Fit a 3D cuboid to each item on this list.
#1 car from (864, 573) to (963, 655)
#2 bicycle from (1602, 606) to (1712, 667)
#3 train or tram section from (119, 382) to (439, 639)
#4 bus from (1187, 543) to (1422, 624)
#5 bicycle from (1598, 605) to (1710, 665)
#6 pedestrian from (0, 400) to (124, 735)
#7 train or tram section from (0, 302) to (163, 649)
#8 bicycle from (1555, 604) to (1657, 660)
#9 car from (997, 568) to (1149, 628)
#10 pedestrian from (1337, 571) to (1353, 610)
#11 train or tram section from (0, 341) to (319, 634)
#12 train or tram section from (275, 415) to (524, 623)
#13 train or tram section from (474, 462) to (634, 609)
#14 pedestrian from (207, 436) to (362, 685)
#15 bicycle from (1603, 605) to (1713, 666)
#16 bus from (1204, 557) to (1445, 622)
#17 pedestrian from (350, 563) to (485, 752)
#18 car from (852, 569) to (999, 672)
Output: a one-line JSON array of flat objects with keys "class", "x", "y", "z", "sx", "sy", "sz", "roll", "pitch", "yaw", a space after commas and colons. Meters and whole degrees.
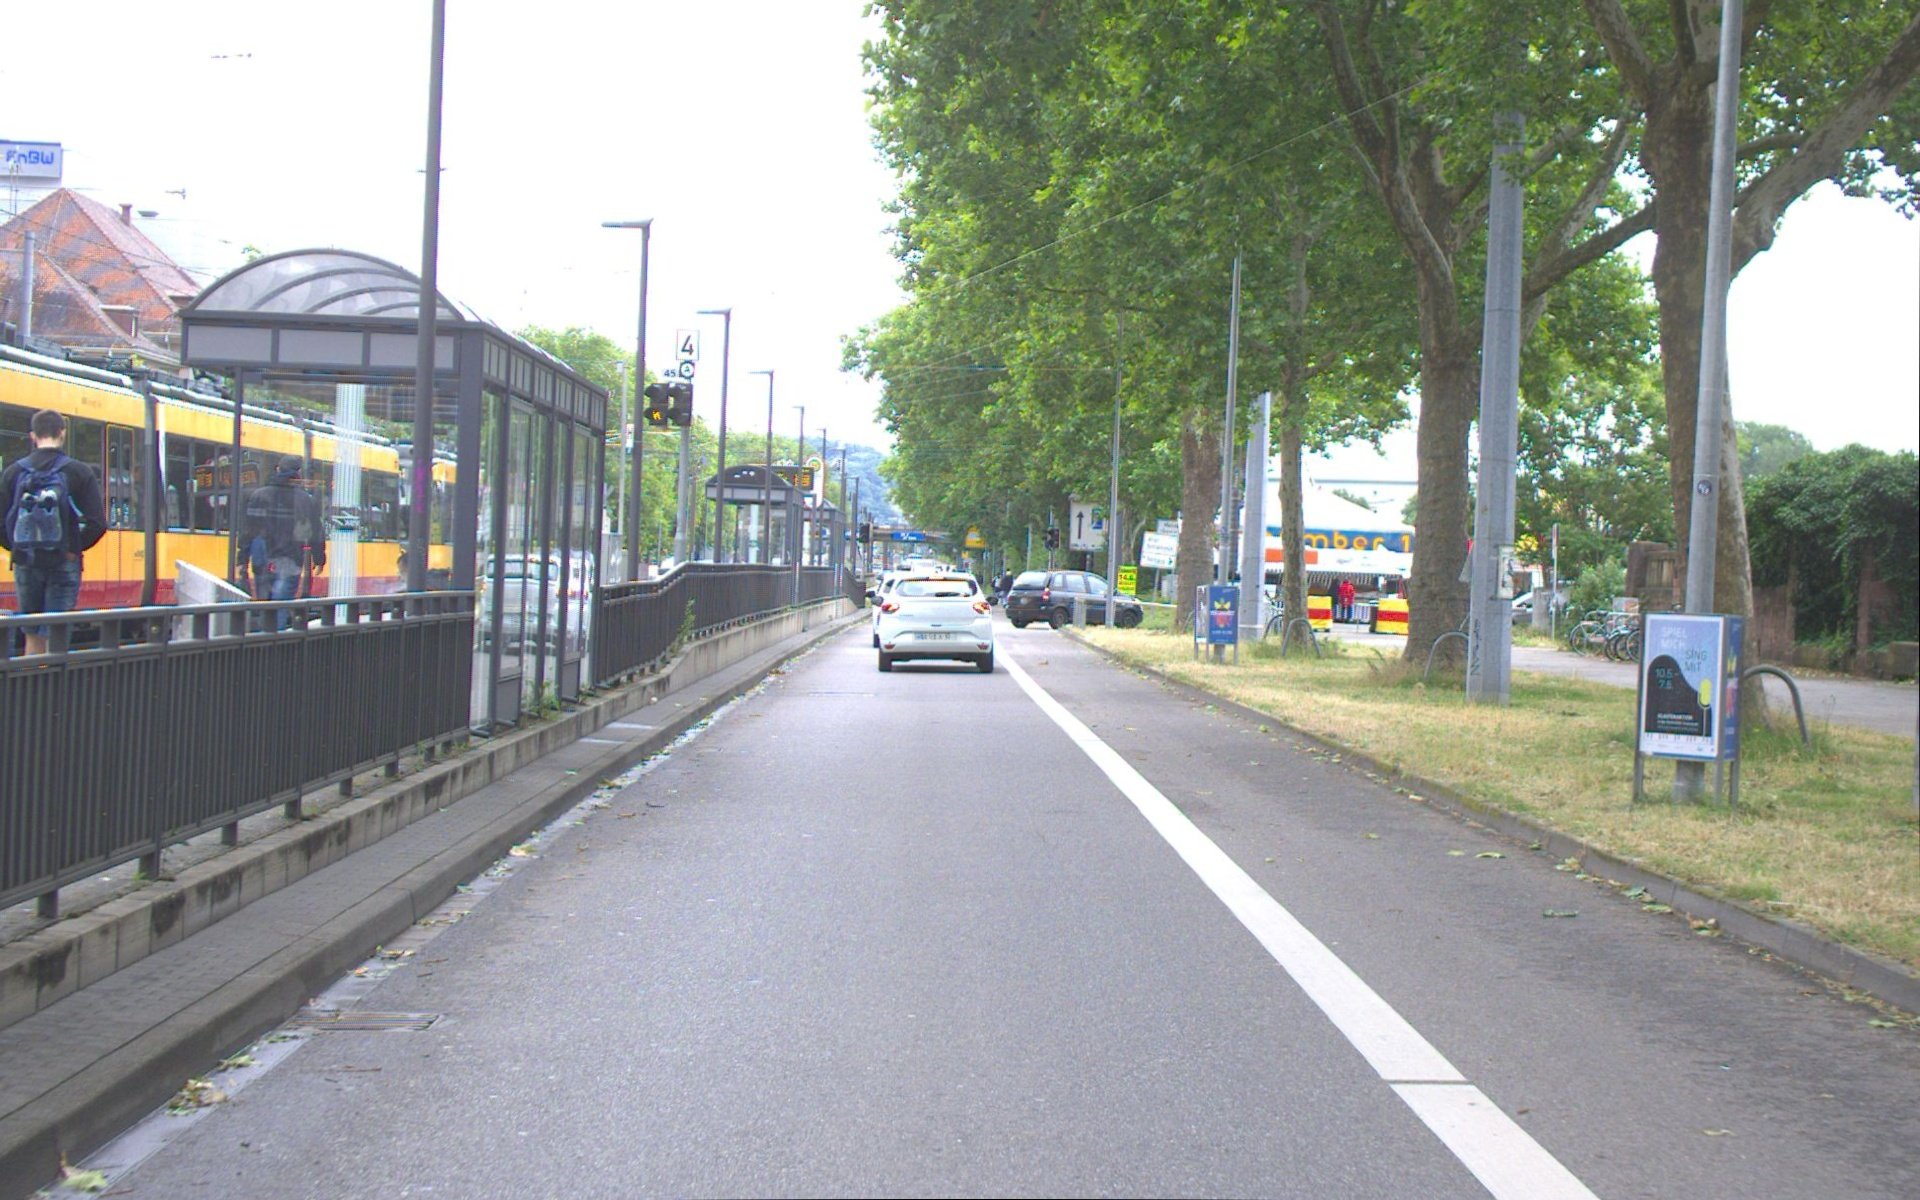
[{"class": "car", "x": -0.902, "y": 0.257, "z": 68.762, "sx": 1.841, "sy": 1.547, "sz": 4.000, "roll": 2, "pitch": 0, "yaw": 1}, {"class": "bicycle", "x": 12.768, "y": 0.668, "z": 62.986, "sx": 1.889, "sy": 1.101, "sz": 0.550, "roll": 1, "pitch": 0, "yaw": -2}, {"class": "train or tram section", "x": -12.398, "y": -1.493, "z": 64.156, "sx": 3.180, "sy": 4.165, "sz": 13.620, "roll": 2, "pitch": 0, "yaw": 0}, {"class": "bus", "x": 14.065, "y": -0.657, "z": 140.678, "sx": 9.276, "sy": 2.950, "sz": 2.000, "roll": 2, "pitch": 0, "yaw": -3}, {"class": "bicycle", "x": 12.961, "y": 0.654, "z": 64.210, "sx": 1.974, "sy": 1.091, "sz": 0.550, "roll": 1, "pitch": 0, "yaw": -2}, {"class": "pedestrian", "x": -5.066, "y": -0.180, "z": 19.091, "sx": 0.670, "sy": 1.787, "sz": 1.113, "roll": 2, "pitch": 0, "yaw": -9}, {"class": "train or tram section", "x": -12.316, "y": -1.436, "z": 40.293, "sx": 3.237, "sy": 3.849, "sz": 11.311, "roll": 2, "pitch": 0, "yaw": 0}, {"class": "bicycle", "x": 12.802, "y": 0.639, "z": 68.151, "sx": 1.921, "sy": 1.087, "sz": 0.550, "roll": 1, "pitch": 0, "yaw": -2}, {"class": "car", "x": 3.050, "y": -0.057, "z": 92.237, "sx": 3.987, "sy": 1.481, "sz": 1.786, "roll": 2, "pitch": 1, "yaw": 3}, {"class": "pedestrian", "x": 14.692, "y": -0.373, "z": 131.225, "sx": 0.492, "sy": 1.458, "sz": 0.524, "roll": 2, "pitch": 0, "yaw": -3}, {"class": "train or tram section", "x": -12.319, "y": -1.520, "z": 51.675, "sx": 3.163, "sy": 3.849, "sz": 11.311, "roll": 2, "pitch": 0, "yaw": 0}, {"class": "train or tram section", "x": -12.510, "y": -1.669, "z": 78.339, "sx": 3.180, "sy": 4.165, "sz": 14.734, "roll": 2, "pitch": 0, "yaw": 0}, {"class": "train or tram section", "x": -12.569, "y": -1.883, "z": 107.816, "sx": 3.180, "sy": 4.165, "sz": 14.734, "roll": 2, "pitch": 0, "yaw": 0}, {"class": "pedestrian", "x": -5.619, "y": -0.326, "z": 28.637, "sx": 1.058, "sy": 2.007, "sz": 0.840, "roll": 2, "pitch": 0, "yaw": 0}, {"class": "bicycle", "x": 12.906, "y": 0.656, "z": 63.571, "sx": 1.900, "sy": 1.093, "sz": 0.550, "roll": 1, "pitch": 0, "yaw": -2}, {"class": "bus", "x": 14.524, "y": -0.401, "z": 137.152, "sx": 9.276, "sy": 2.220, "sz": 2.000, "roll": 2, "pitch": 0, "yaw": -3}, {"class": "pedestrian", "x": -3.862, "y": 0.405, "z": 24.517, "sx": 0.835, "sy": 1.299, "sz": 0.613, "roll": 2, "pitch": 0, "yaw": -2}, {"class": "car", "x": -0.572, "y": 0.297, "z": 52.837, "sx": 1.885, "sy": 1.448, "sz": 4.001, "roll": 2, "pitch": 0, "yaw": -5}]
